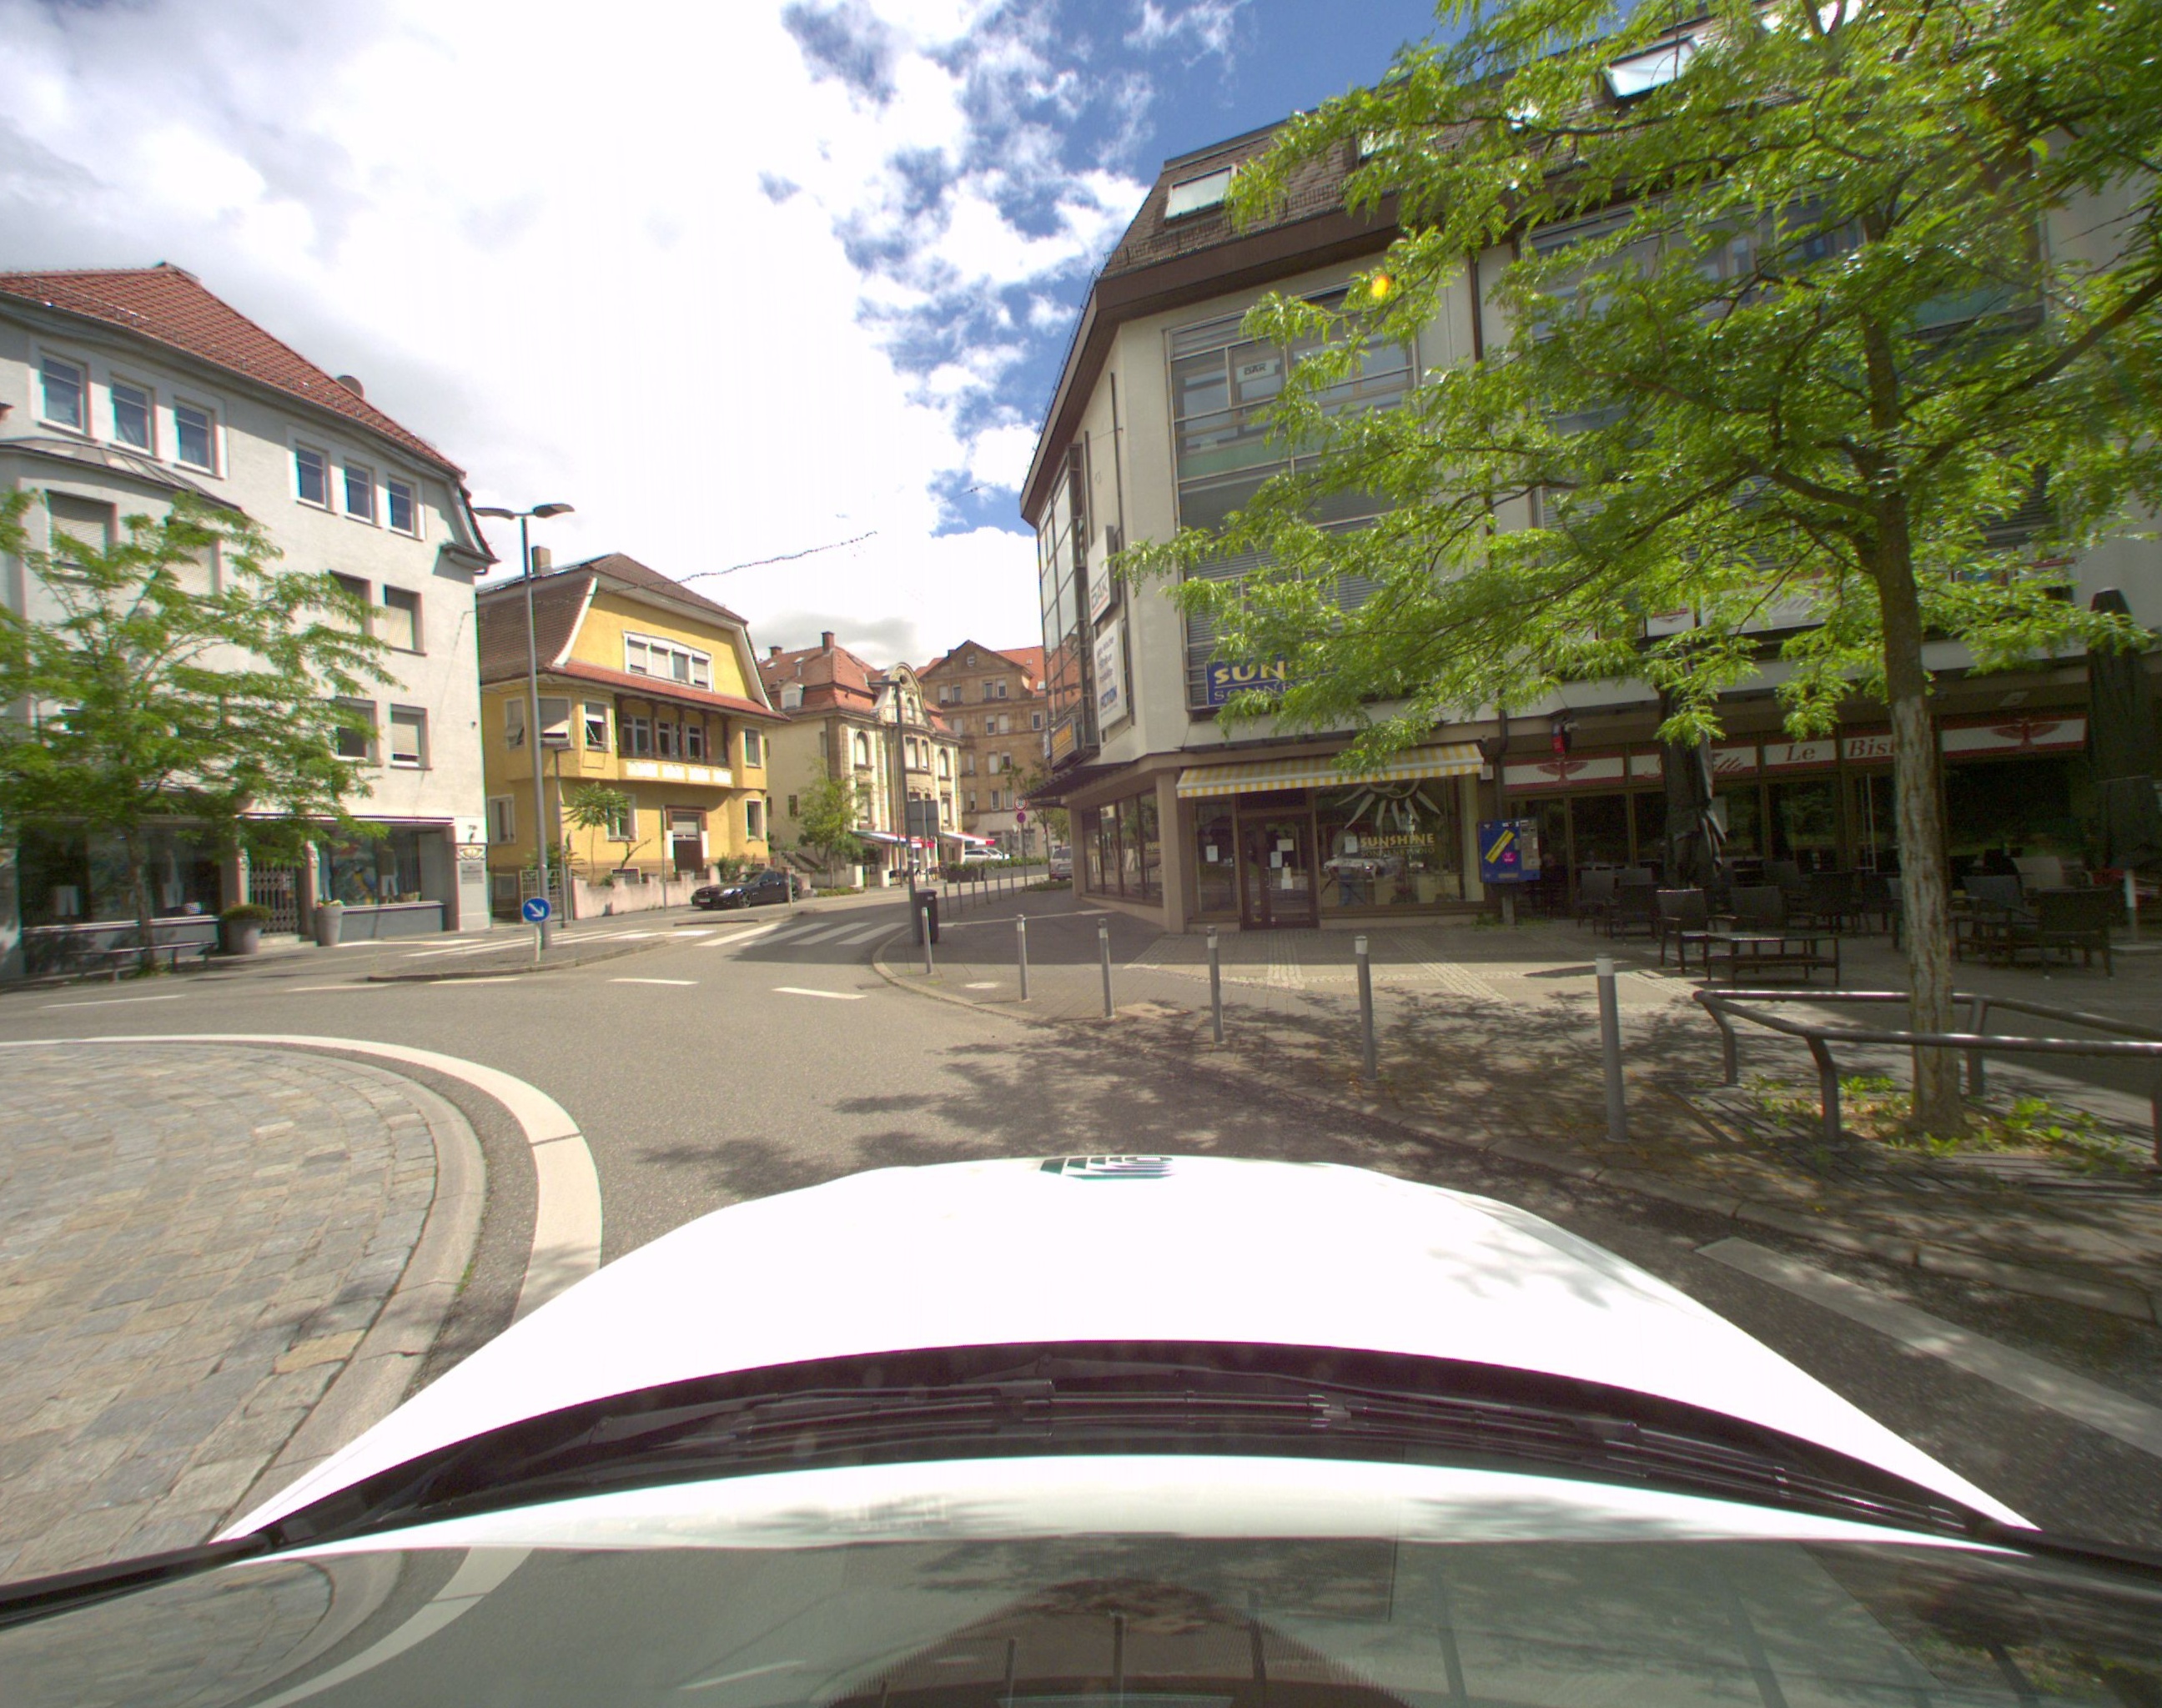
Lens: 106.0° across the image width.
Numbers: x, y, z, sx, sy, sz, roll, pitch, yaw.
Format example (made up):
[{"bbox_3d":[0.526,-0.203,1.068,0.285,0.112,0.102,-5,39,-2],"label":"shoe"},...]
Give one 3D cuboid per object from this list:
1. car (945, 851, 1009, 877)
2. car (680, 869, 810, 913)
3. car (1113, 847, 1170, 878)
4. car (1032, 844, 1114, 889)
[{"bbox_3d":[-7.849,0.740,61.749,4.396,1.775,2.003,-3,0,5],"label":"car"},{"bbox_3d":[-12.200,1.310,29.882,1.694,1.245,4.436,-3,1,23],"label":"car"},{"bbox_3d":[3.516,0.473,46.639,1.808,1.519,4.258,-4,-1,25],"label":"car"},{"bbox_3d":[-0.275,0.495,35.615,1.808,1.731,4.258,-4,-1,25],"label":"car"}]
